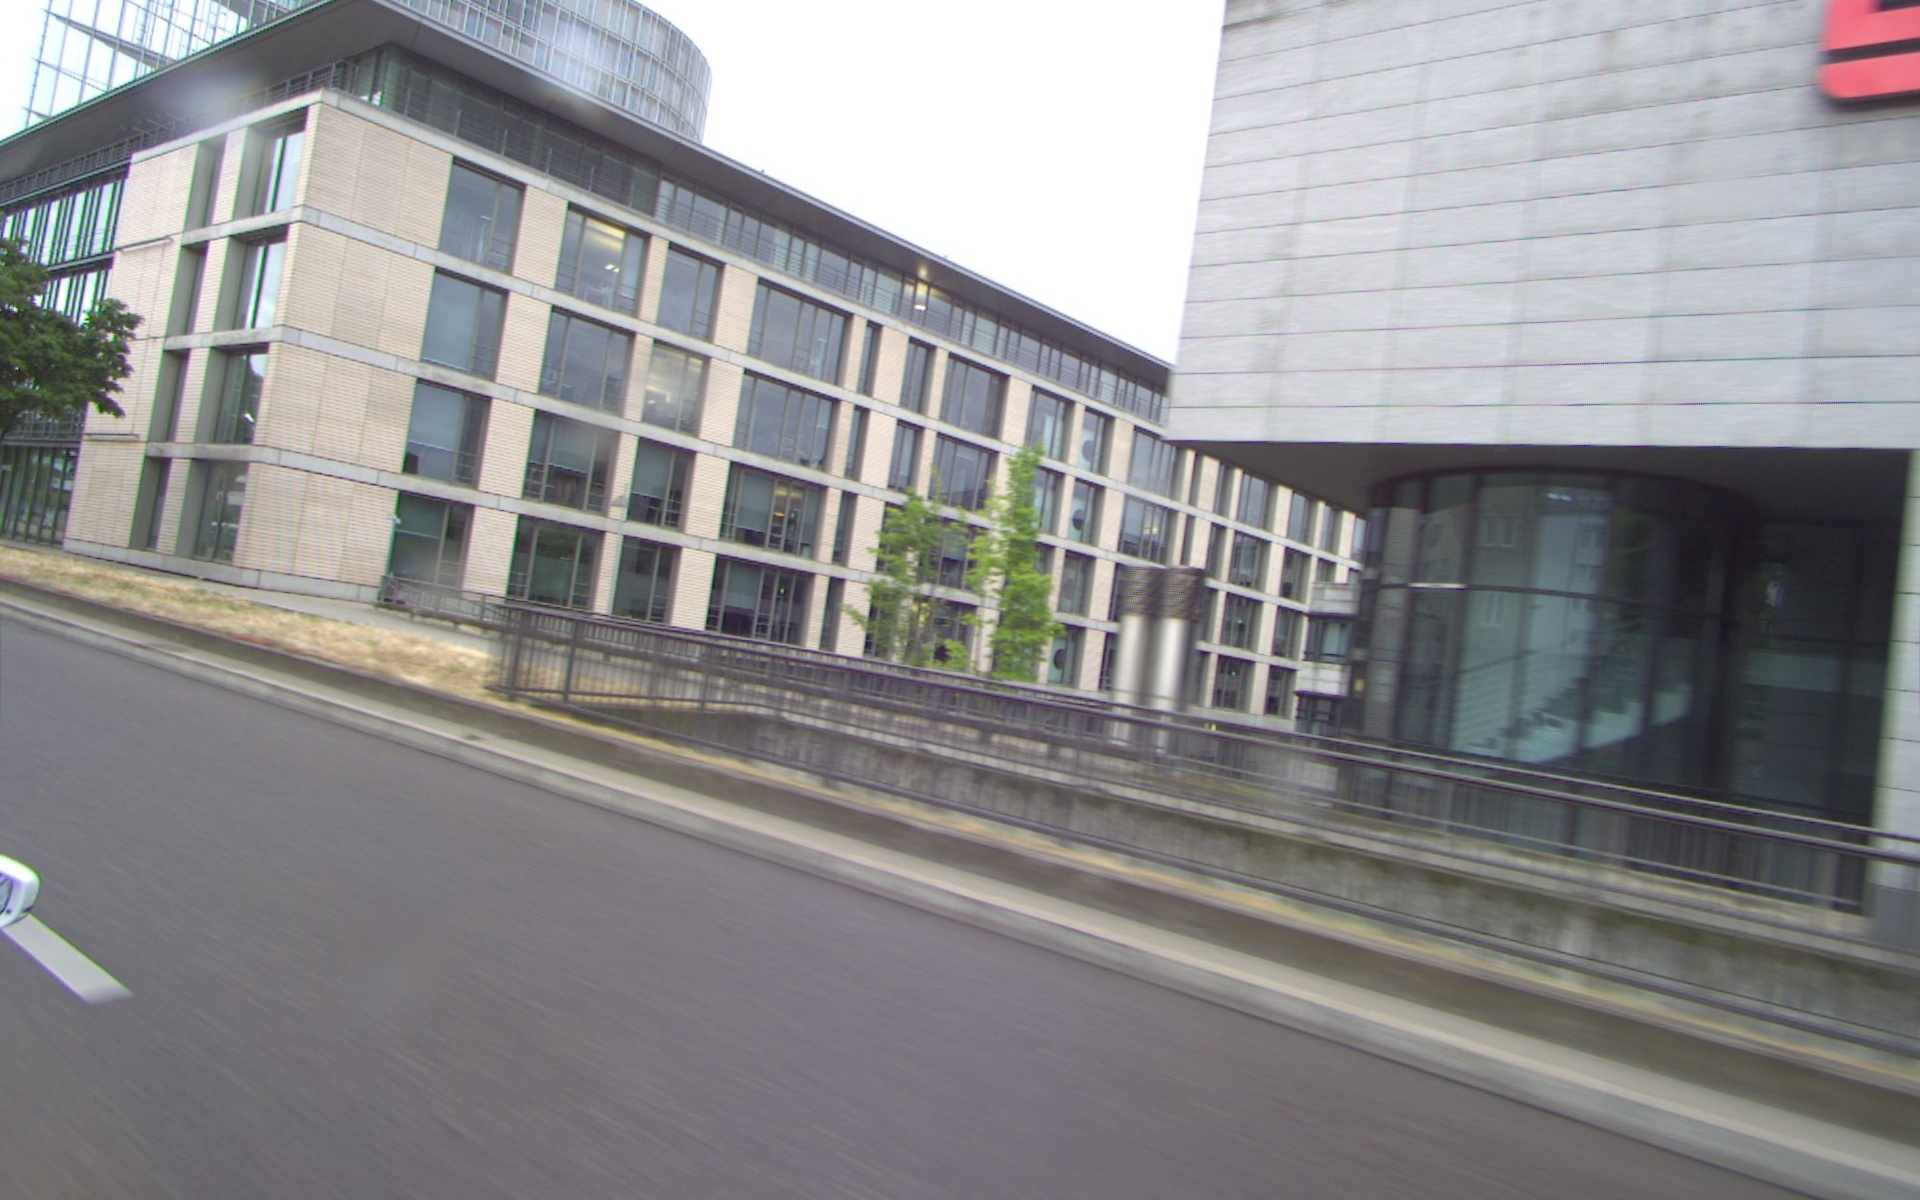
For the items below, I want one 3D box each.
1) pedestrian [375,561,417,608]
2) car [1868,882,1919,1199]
[{"bbox_3d":[-18.173,-0.494,32.416,0.872,1.355,0.958,9,-2,-40],"label":"pedestrian"},{"bbox_3d":[3.811,1.321,0.840,4.134,1.453,1.877,9,-1,31],"label":"car"}]
